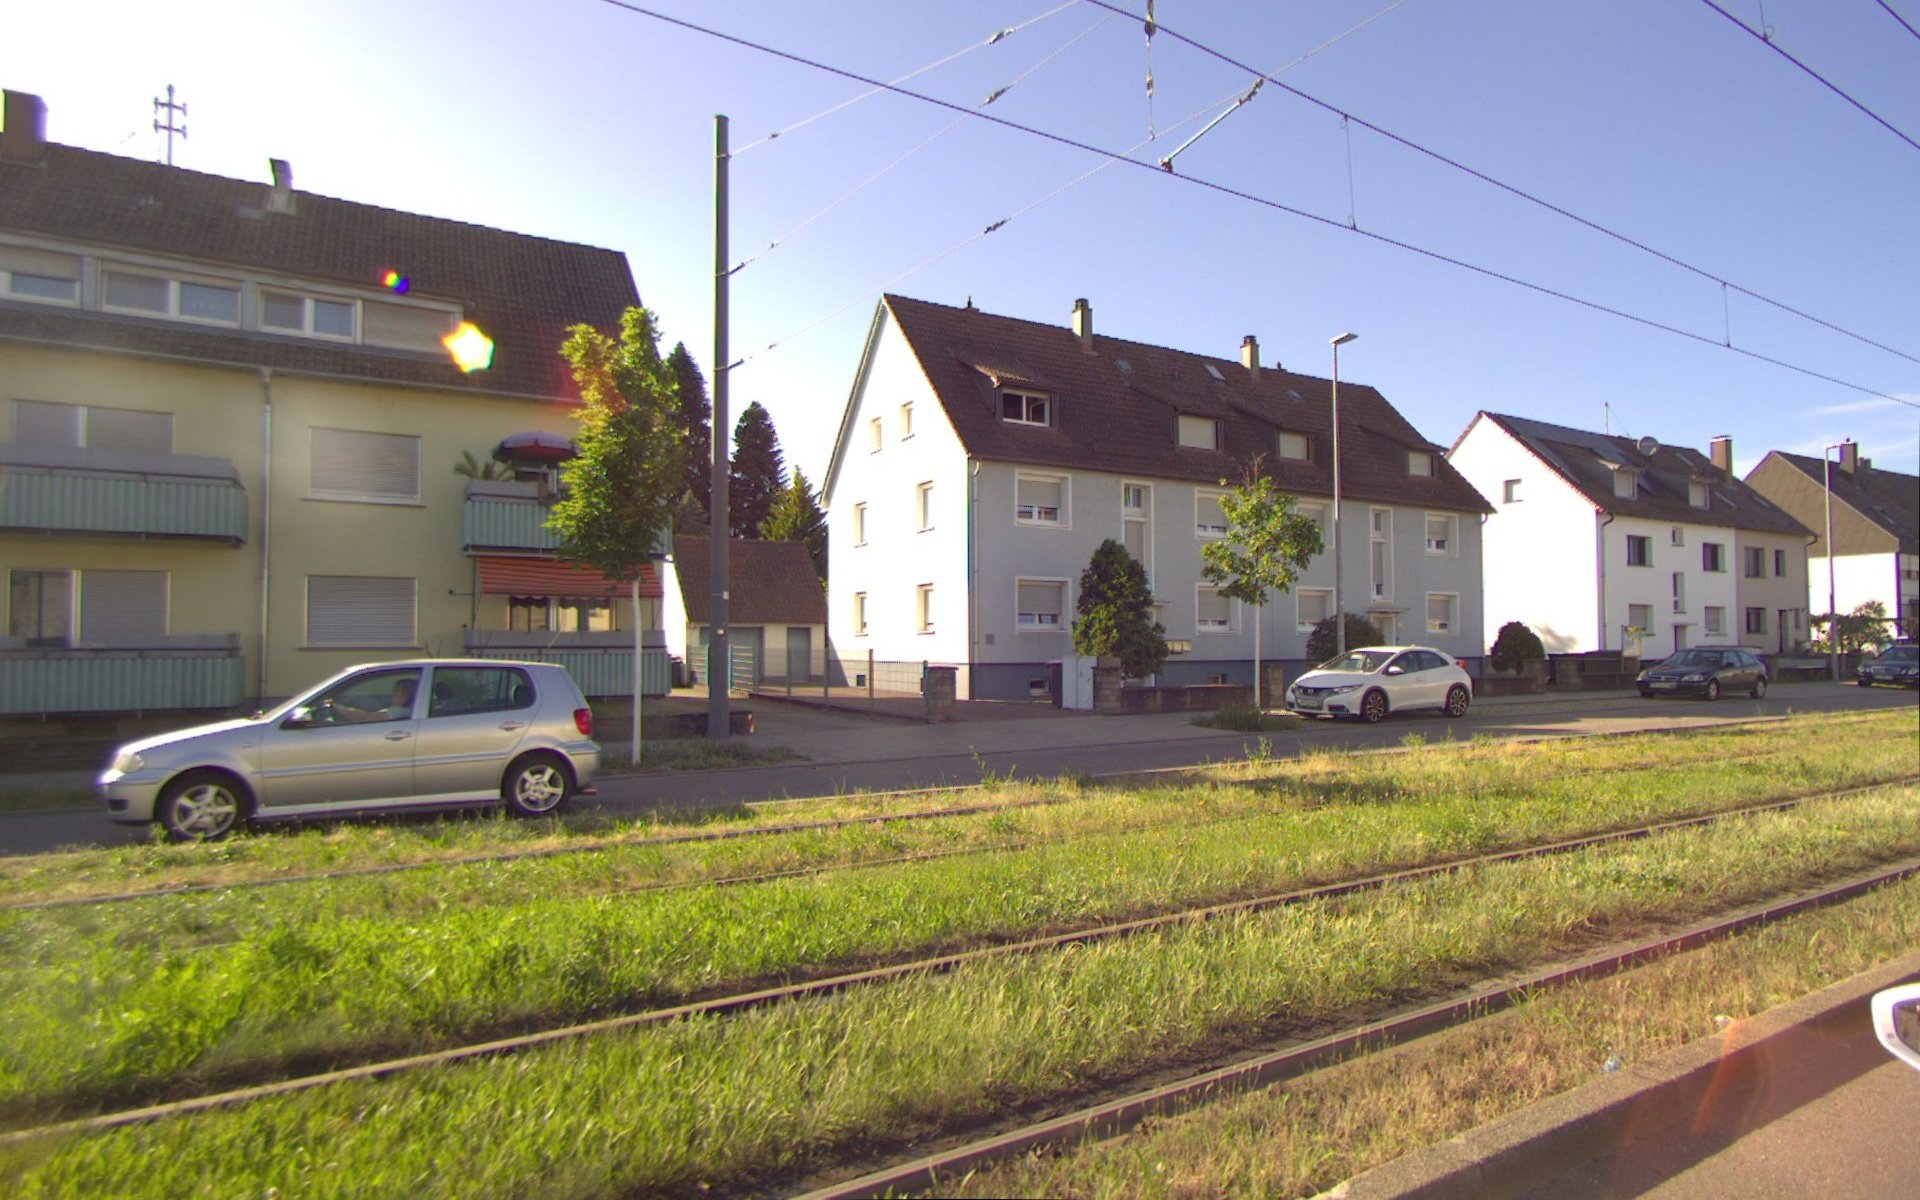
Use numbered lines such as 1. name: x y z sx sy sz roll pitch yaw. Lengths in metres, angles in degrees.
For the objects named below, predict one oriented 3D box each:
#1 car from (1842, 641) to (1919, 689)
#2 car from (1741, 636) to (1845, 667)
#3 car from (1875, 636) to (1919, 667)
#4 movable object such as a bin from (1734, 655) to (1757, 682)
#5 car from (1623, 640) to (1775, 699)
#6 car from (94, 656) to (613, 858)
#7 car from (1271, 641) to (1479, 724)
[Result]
1. car: 32.640 2.179 34.490 4.817 1.543 1.870 1 -2 -27
2. car: 47.177 2.886 56.948 1.832 1.676 4.146 1 -3 -25
3. car: 50.634 2.666 52.261 1.740 1.638 4.143 1 -3 -32
4. movable object such as a bin: 27.511 2.395 35.175 0.696 0.939 0.386 3 -4 -31
5. car: 20.212 1.854 27.461 4.115 1.482 1.783 1 -3 -29
6. car: -5.084 1.233 8.895 3.614 1.430 1.544 1 -3 -29
7. car: 8.501 1.613 20.502 4.162 1.537 1.686 1 -3 -29
